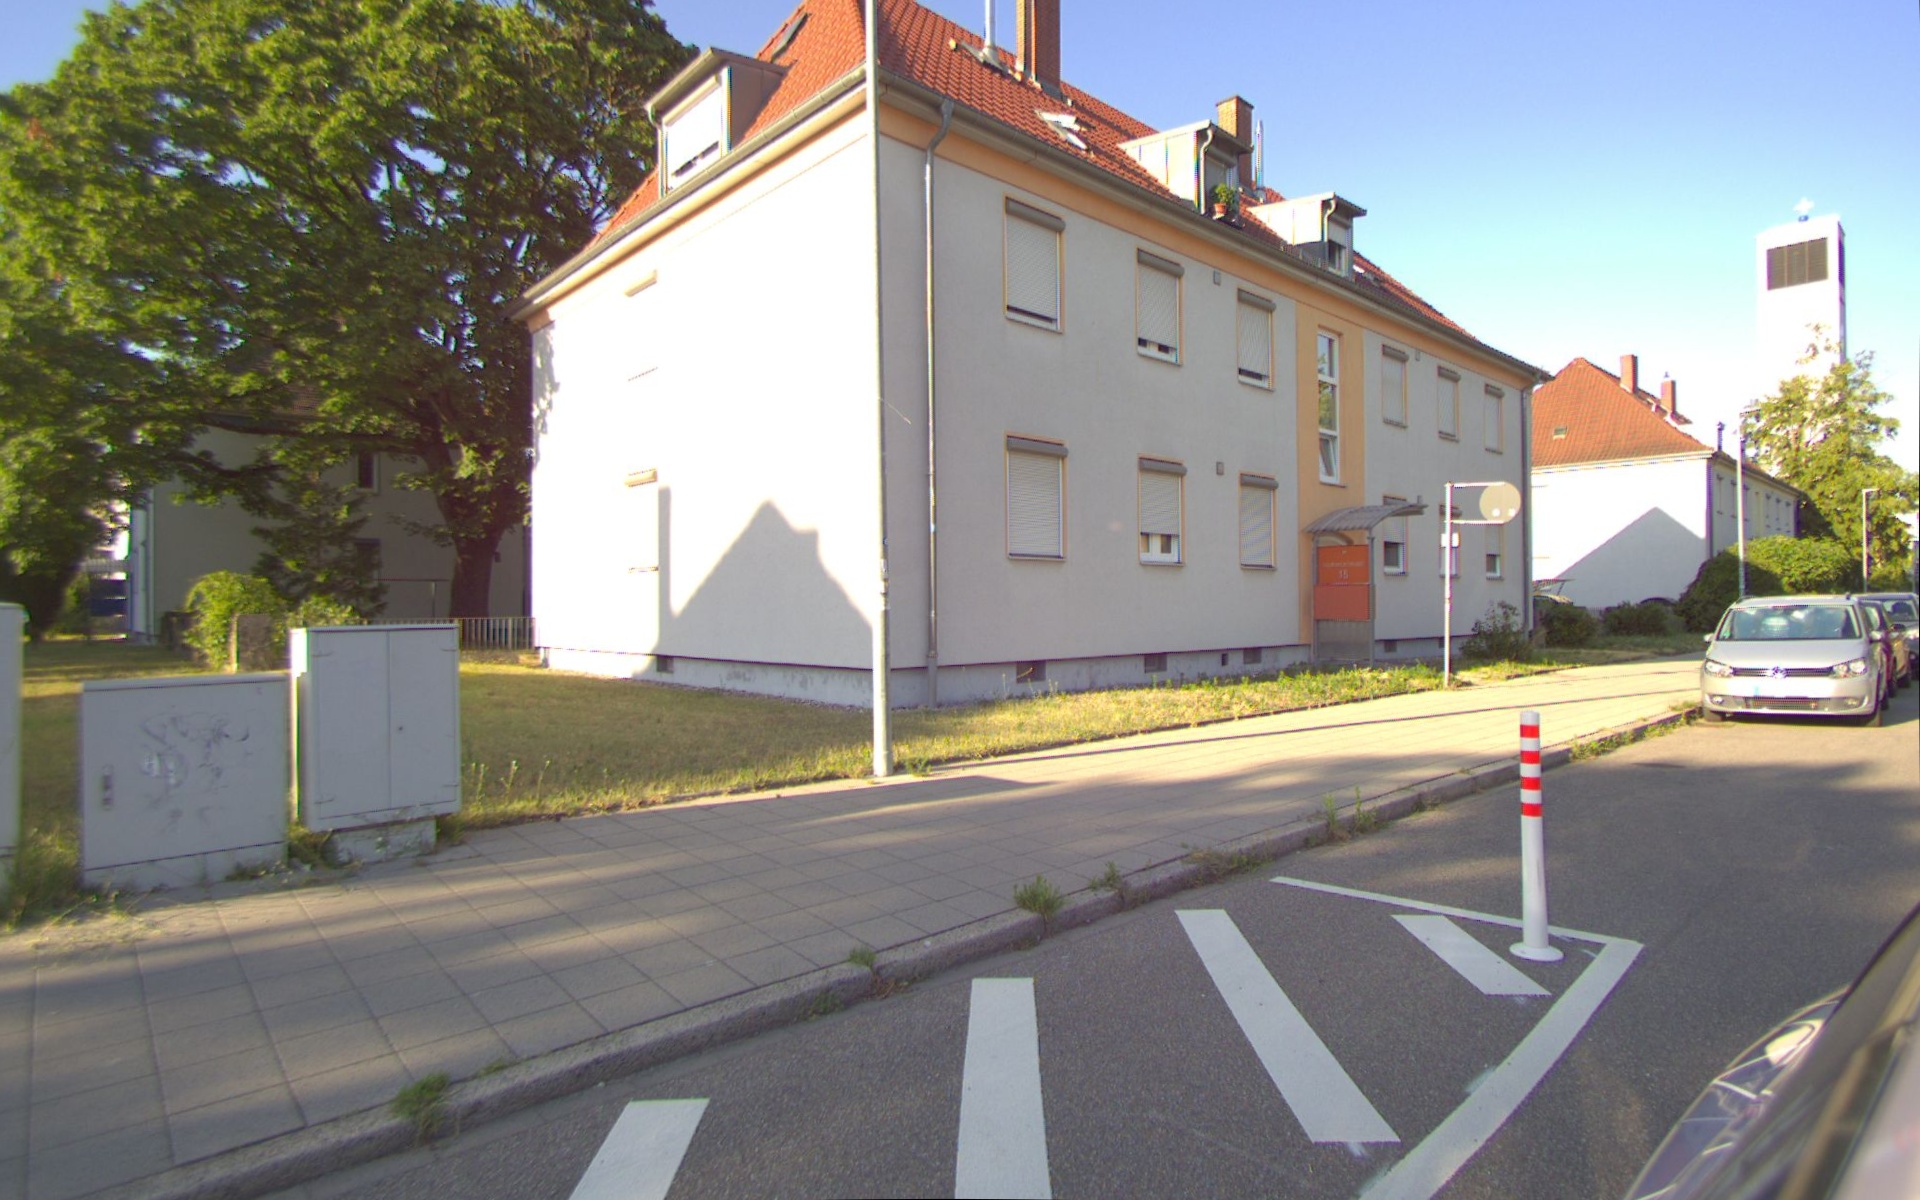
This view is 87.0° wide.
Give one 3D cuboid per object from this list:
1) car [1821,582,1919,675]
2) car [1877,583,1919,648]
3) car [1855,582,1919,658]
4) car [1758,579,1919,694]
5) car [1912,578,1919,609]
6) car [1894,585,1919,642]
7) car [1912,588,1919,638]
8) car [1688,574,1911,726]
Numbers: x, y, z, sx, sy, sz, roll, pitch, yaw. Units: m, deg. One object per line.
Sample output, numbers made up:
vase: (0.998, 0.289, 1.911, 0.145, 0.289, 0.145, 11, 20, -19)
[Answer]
car: (18.768, 0.520, 20.322, 3.935, 1.717, 1.845, -1, -2, -45)
car: (26.860, 0.395, 28.050, 3.935, 1.717, 1.845, -1, -2, -45)
car: (22.814, 0.434, 24.162, 3.935, 1.717, 1.845, -1, -2, -45)
car: (15.025, 0.558, 17.126, 3.935, 1.717, 1.845, -1, -2, -45)
car: (55.270, -0.427, 57.224, 3.935, 1.717, 1.845, -1, -2, -45)
car: (30.765, 0.375, 31.787, 3.935, 1.717, 1.845, -1, -2, -45)
car: (34.753, 0.396, 35.447, 3.935, 1.717, 1.845, -1, -2, -45)
car: (11.296, 0.579, 13.531, 3.935, 1.717, 1.845, -1, -2, -45)
